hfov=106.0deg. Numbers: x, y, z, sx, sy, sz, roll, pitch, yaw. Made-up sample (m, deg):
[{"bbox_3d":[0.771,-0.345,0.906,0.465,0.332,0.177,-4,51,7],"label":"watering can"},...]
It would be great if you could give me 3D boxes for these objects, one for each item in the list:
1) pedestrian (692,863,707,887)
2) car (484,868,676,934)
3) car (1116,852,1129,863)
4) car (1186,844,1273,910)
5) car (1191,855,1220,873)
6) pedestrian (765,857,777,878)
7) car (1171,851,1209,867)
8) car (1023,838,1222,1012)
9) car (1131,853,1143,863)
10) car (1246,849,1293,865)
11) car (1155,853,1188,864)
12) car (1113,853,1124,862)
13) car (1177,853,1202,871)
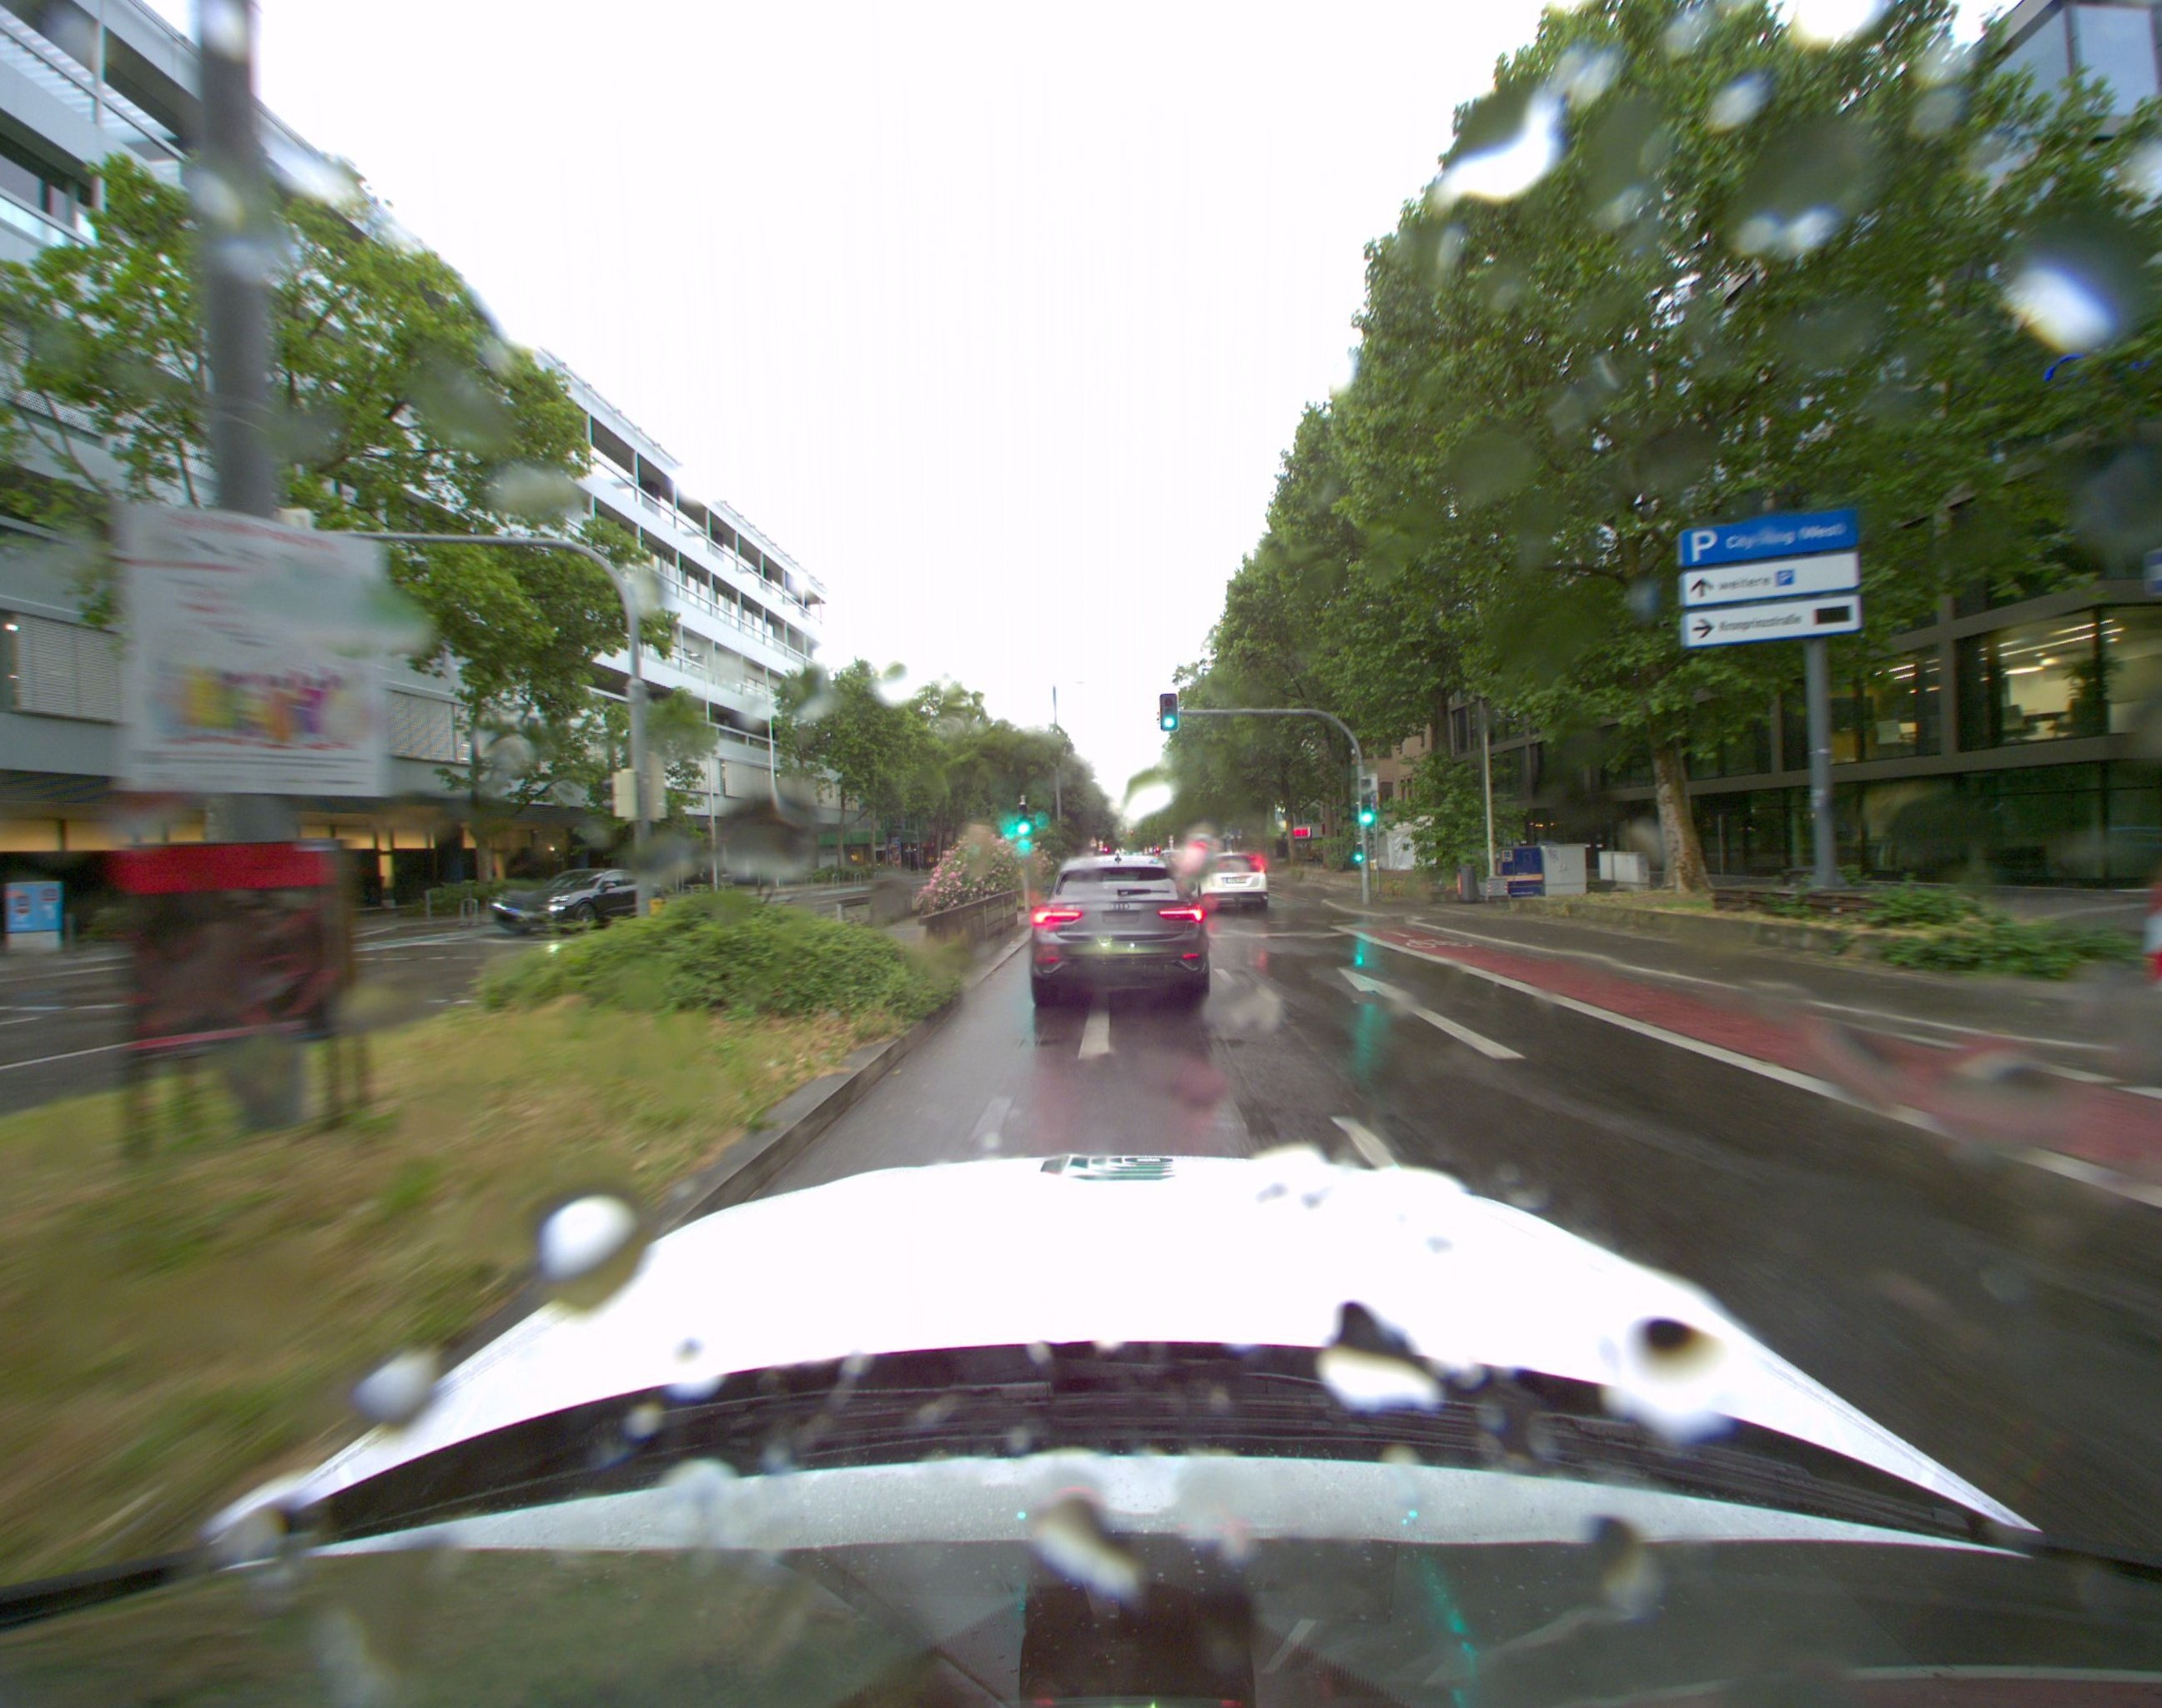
[{"bbox_3d":[-22.802,1.252,48.654,0.635,1.380,0.474,0,-1,-1],"label":"pedestrian"},{"bbox_3d":[-13.389,1.178,22.182,1.900,1.584,4.754,0,-1,6],"label":"car"},{"bbox_3d":[6.725,0.595,131.693,1.986,1.726,4.001,0,-1,2],"label":"car"},{"bbox_3d":[4.087,0.611,22.976,1.870,1.697,4.002,0,-1,2],"label":"car"},{"bbox_3d":[10.151,0.825,66.701,1.865,1.421,4.614,0,-1,2],"label":"car"},{"bbox_3d":[-22.905,0.997,60.160,0.608,1.482,0.574,0,-1,-1],"label":"pedestrian"},{"bbox_3d":[14.334,0.668,107.366,4.548,2.014,1.980,-1,-1,40],"label":"car"},{"bbox_3d":[0.448,0.684,9.669,1.842,1.602,4.001,-1,0,1],"label":"car"},{"bbox_3d":[10.223,0.741,149.215,1.985,1.651,4.003,0,-1,3],"label":"car"},{"bbox_3d":[13.121,0.227,56.615,2.856,1.074,1.465,-1,-1,33],"label":"car"},{"bbox_3d":[13.975,0.734,125.289,4.594,1.706,2.012,-1,-1,30],"label":"car"},{"bbox_3d":[6.779,0.722,147.665,1.889,1.599,3.940,0,-1,2],"label":"car"},{"bbox_3d":[10.332,0.769,77.493,1.723,1.571,4.070,0,-1,-2],"label":"car"}]
